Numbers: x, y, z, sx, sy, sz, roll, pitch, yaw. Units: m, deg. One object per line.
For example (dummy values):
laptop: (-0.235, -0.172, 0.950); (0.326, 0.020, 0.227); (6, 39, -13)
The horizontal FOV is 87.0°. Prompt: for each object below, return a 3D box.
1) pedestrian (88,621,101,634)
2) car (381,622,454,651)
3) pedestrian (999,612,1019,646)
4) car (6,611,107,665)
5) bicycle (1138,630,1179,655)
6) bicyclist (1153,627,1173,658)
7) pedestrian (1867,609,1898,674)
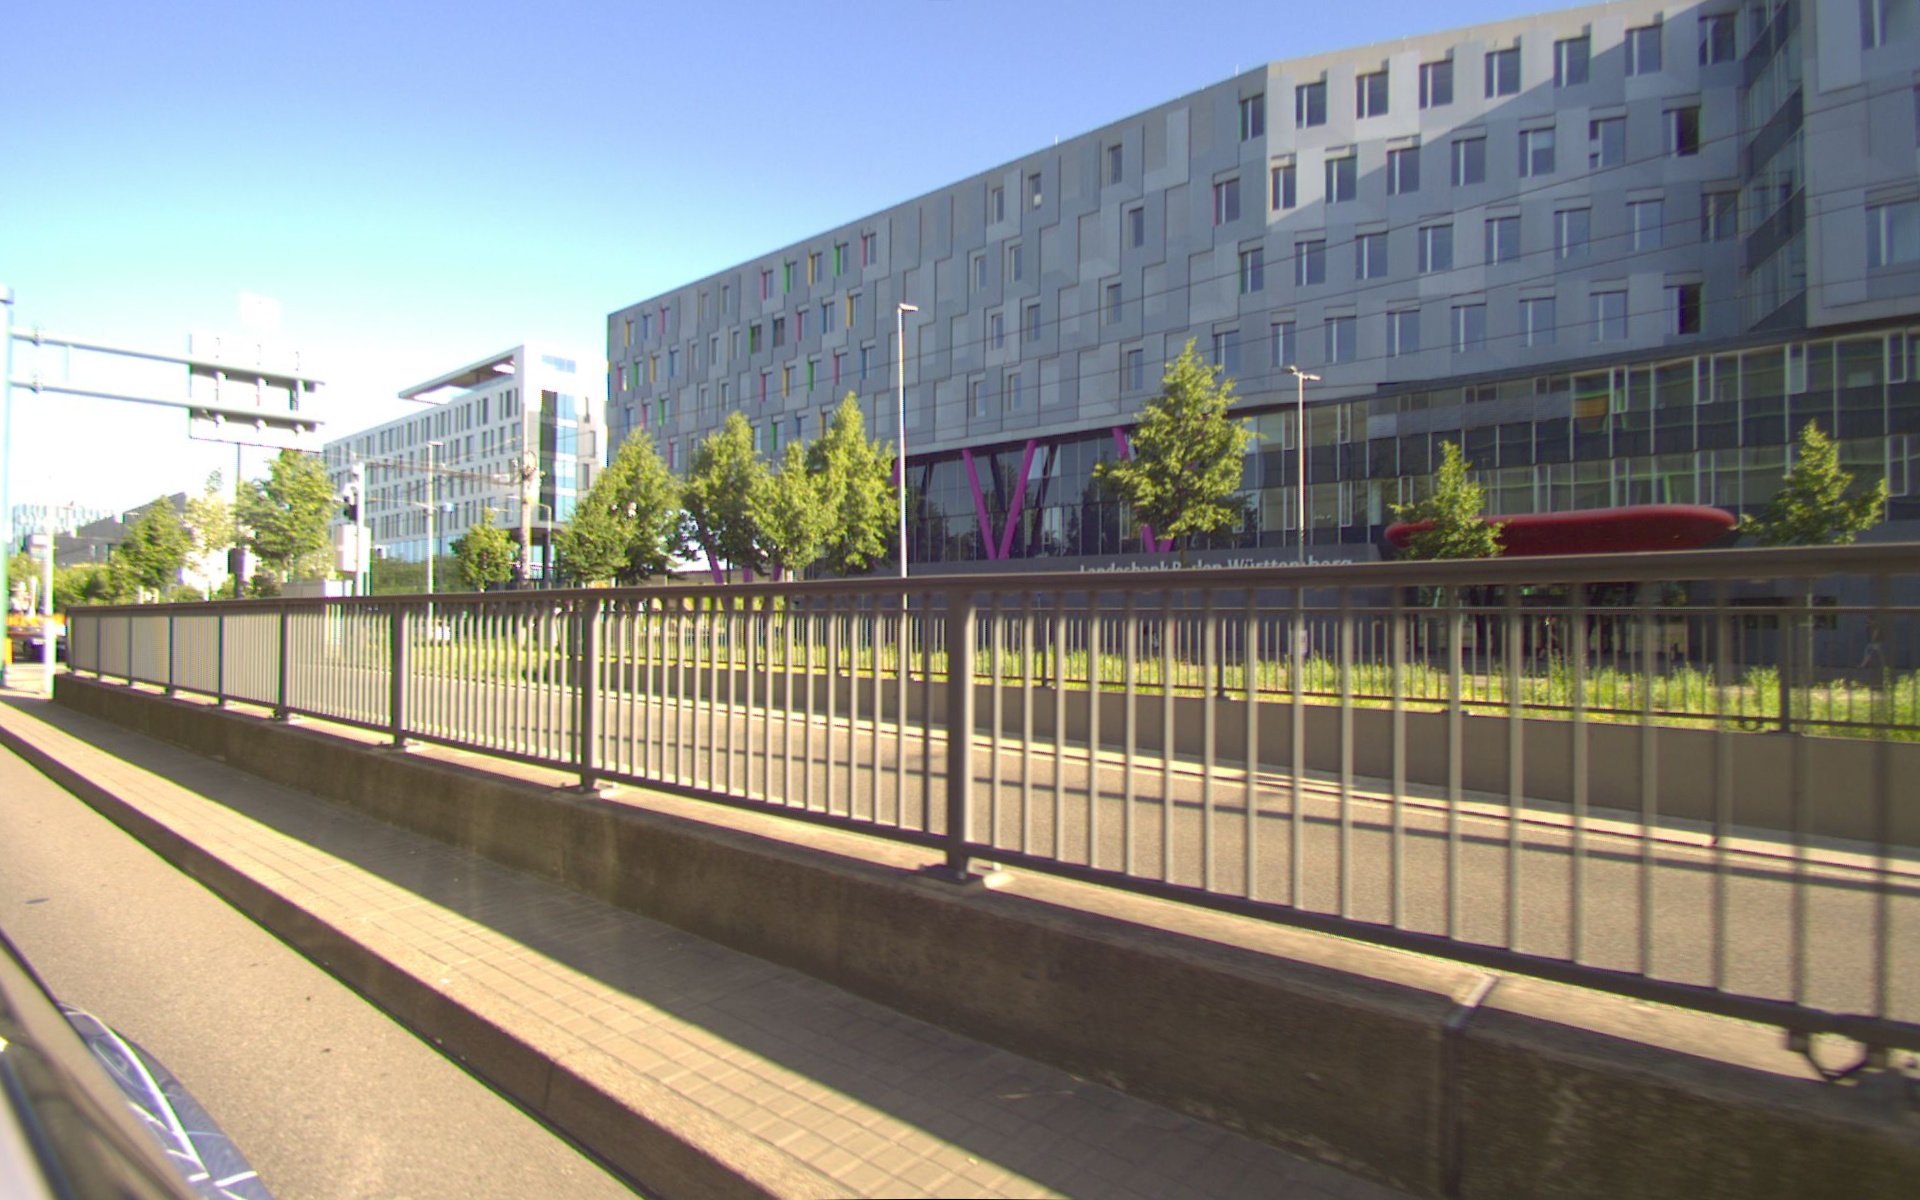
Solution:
pedestrian: (-98.477, 3.105, 115.110); (1.053, 1.477, 0.845); (0, -1, -44)
car: (-30.385, 2.027, 56.594); (4.868, 1.574, 1.973); (-1, -2, 40)
pedestrian: (2.691, 1.585, 55.775); (0.871, 1.836, 0.713); (-2, -2, 42)
car: (-28.316, 1.165, 31.675); (4.340, 1.538, 1.780); (-1, 0, 41)
bicycle: (9.684, 2.080, 49.316); (1.975, 1.181, 0.514); (-1, -2, 42)
bicyclist: (9.957, 2.087, 49.626); (0.763, 1.507, 0.552); (-1, -2, 41)
pedestrian: (29.647, 1.322, 32.536); (0.689, 2.029, 0.728); (-1, -2, 42)
